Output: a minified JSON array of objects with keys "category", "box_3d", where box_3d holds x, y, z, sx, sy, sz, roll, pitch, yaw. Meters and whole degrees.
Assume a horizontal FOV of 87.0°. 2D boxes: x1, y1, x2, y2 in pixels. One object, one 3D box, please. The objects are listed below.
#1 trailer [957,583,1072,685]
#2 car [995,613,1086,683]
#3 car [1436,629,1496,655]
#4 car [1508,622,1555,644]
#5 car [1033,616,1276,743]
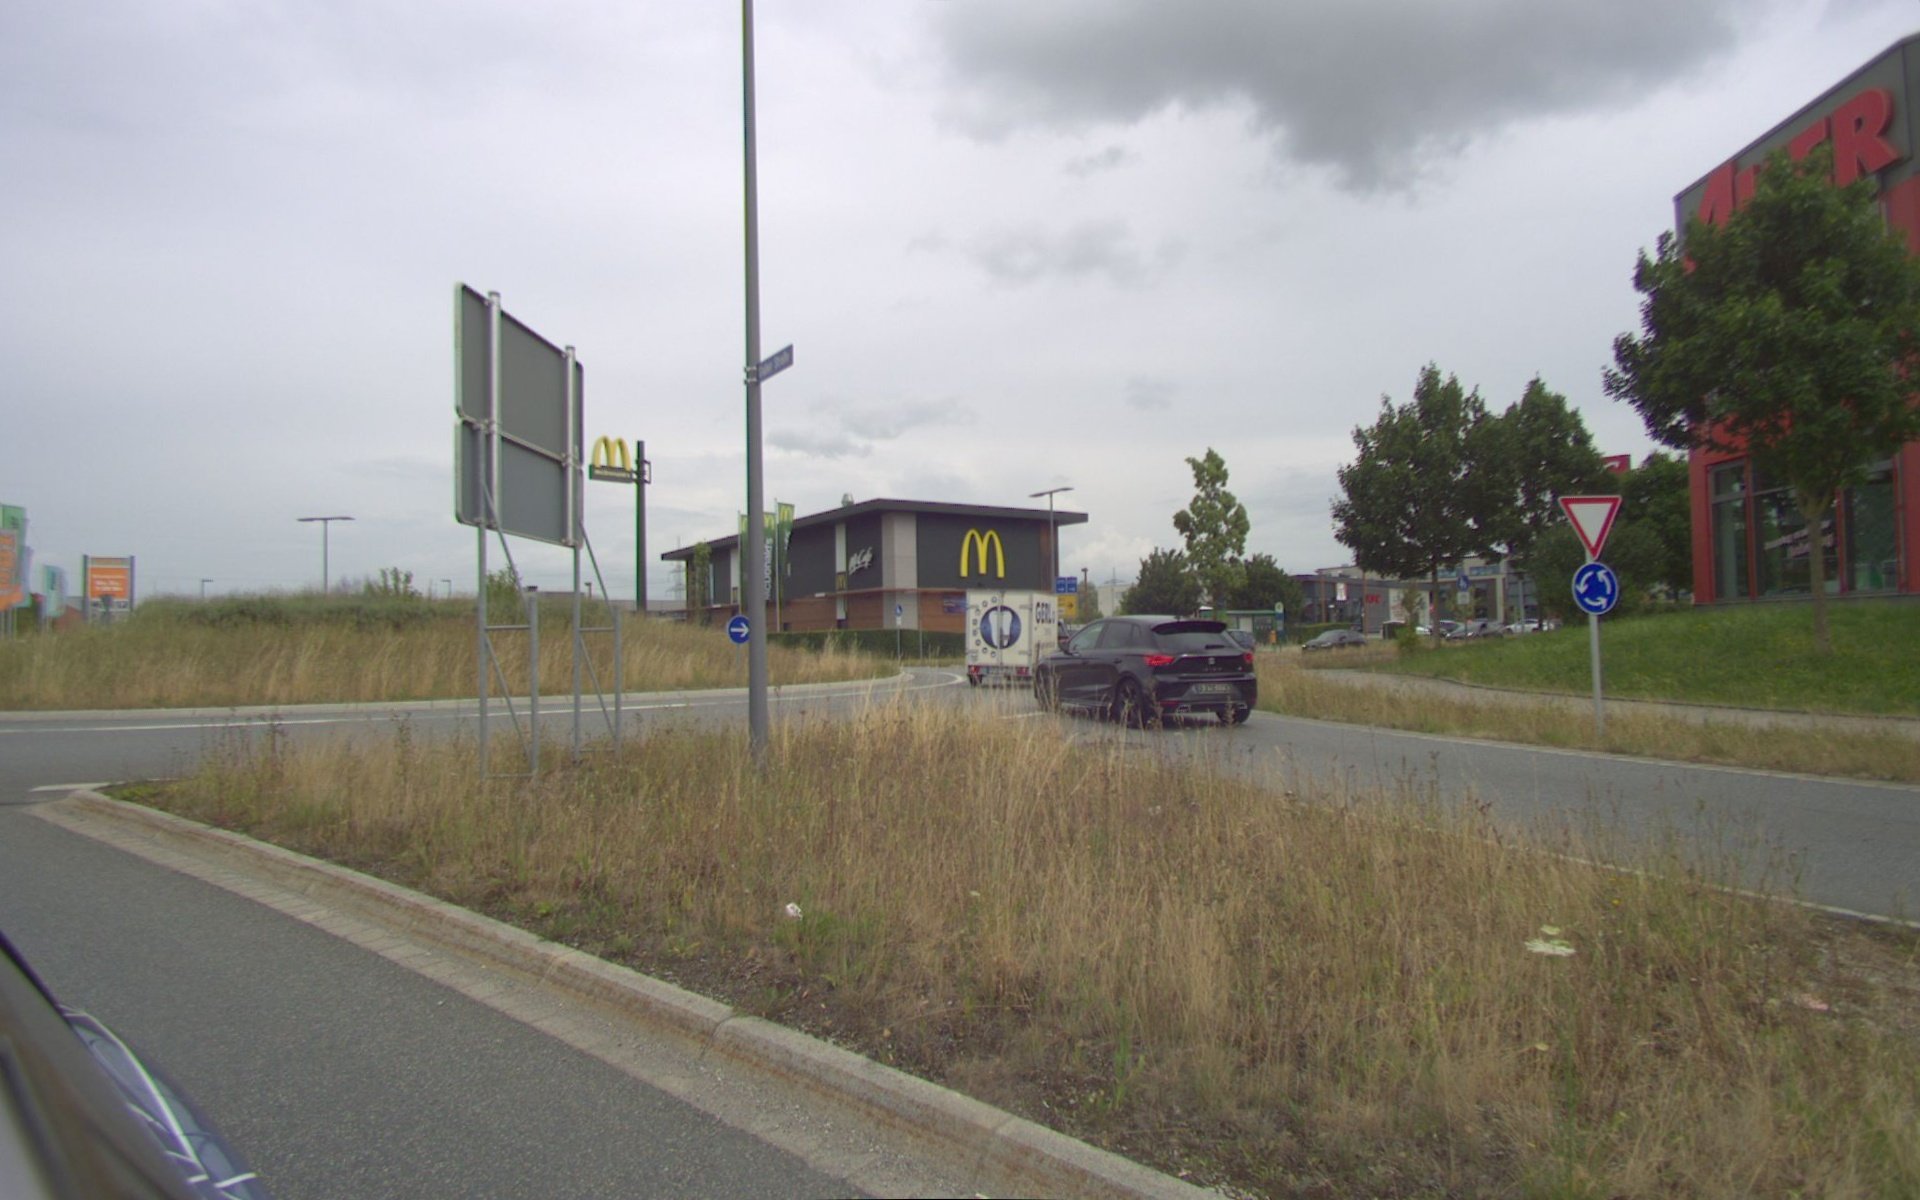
[{"category":"trailer","box_3d":[1.327,0.793,23.022,1.796,2.107,4.125,-1,-2,15]},{"category":"car","box_3d":[2.249,1.271,27.060,1.798,1.683,4.597,-2,-3,12]},{"category":"car","box_3d":[33.061,2.722,66.107,3.710,1.608,1.946,-1,-1,-36]},{"category":"car","box_3d":[56.227,3.235,99.683,1.619,2.029,3.784,-1,-1,-23]},{"category":"car","box_3d":[2.501,0.987,13.974,1.617,1.470,3.779,-1,-1,-18]}]
